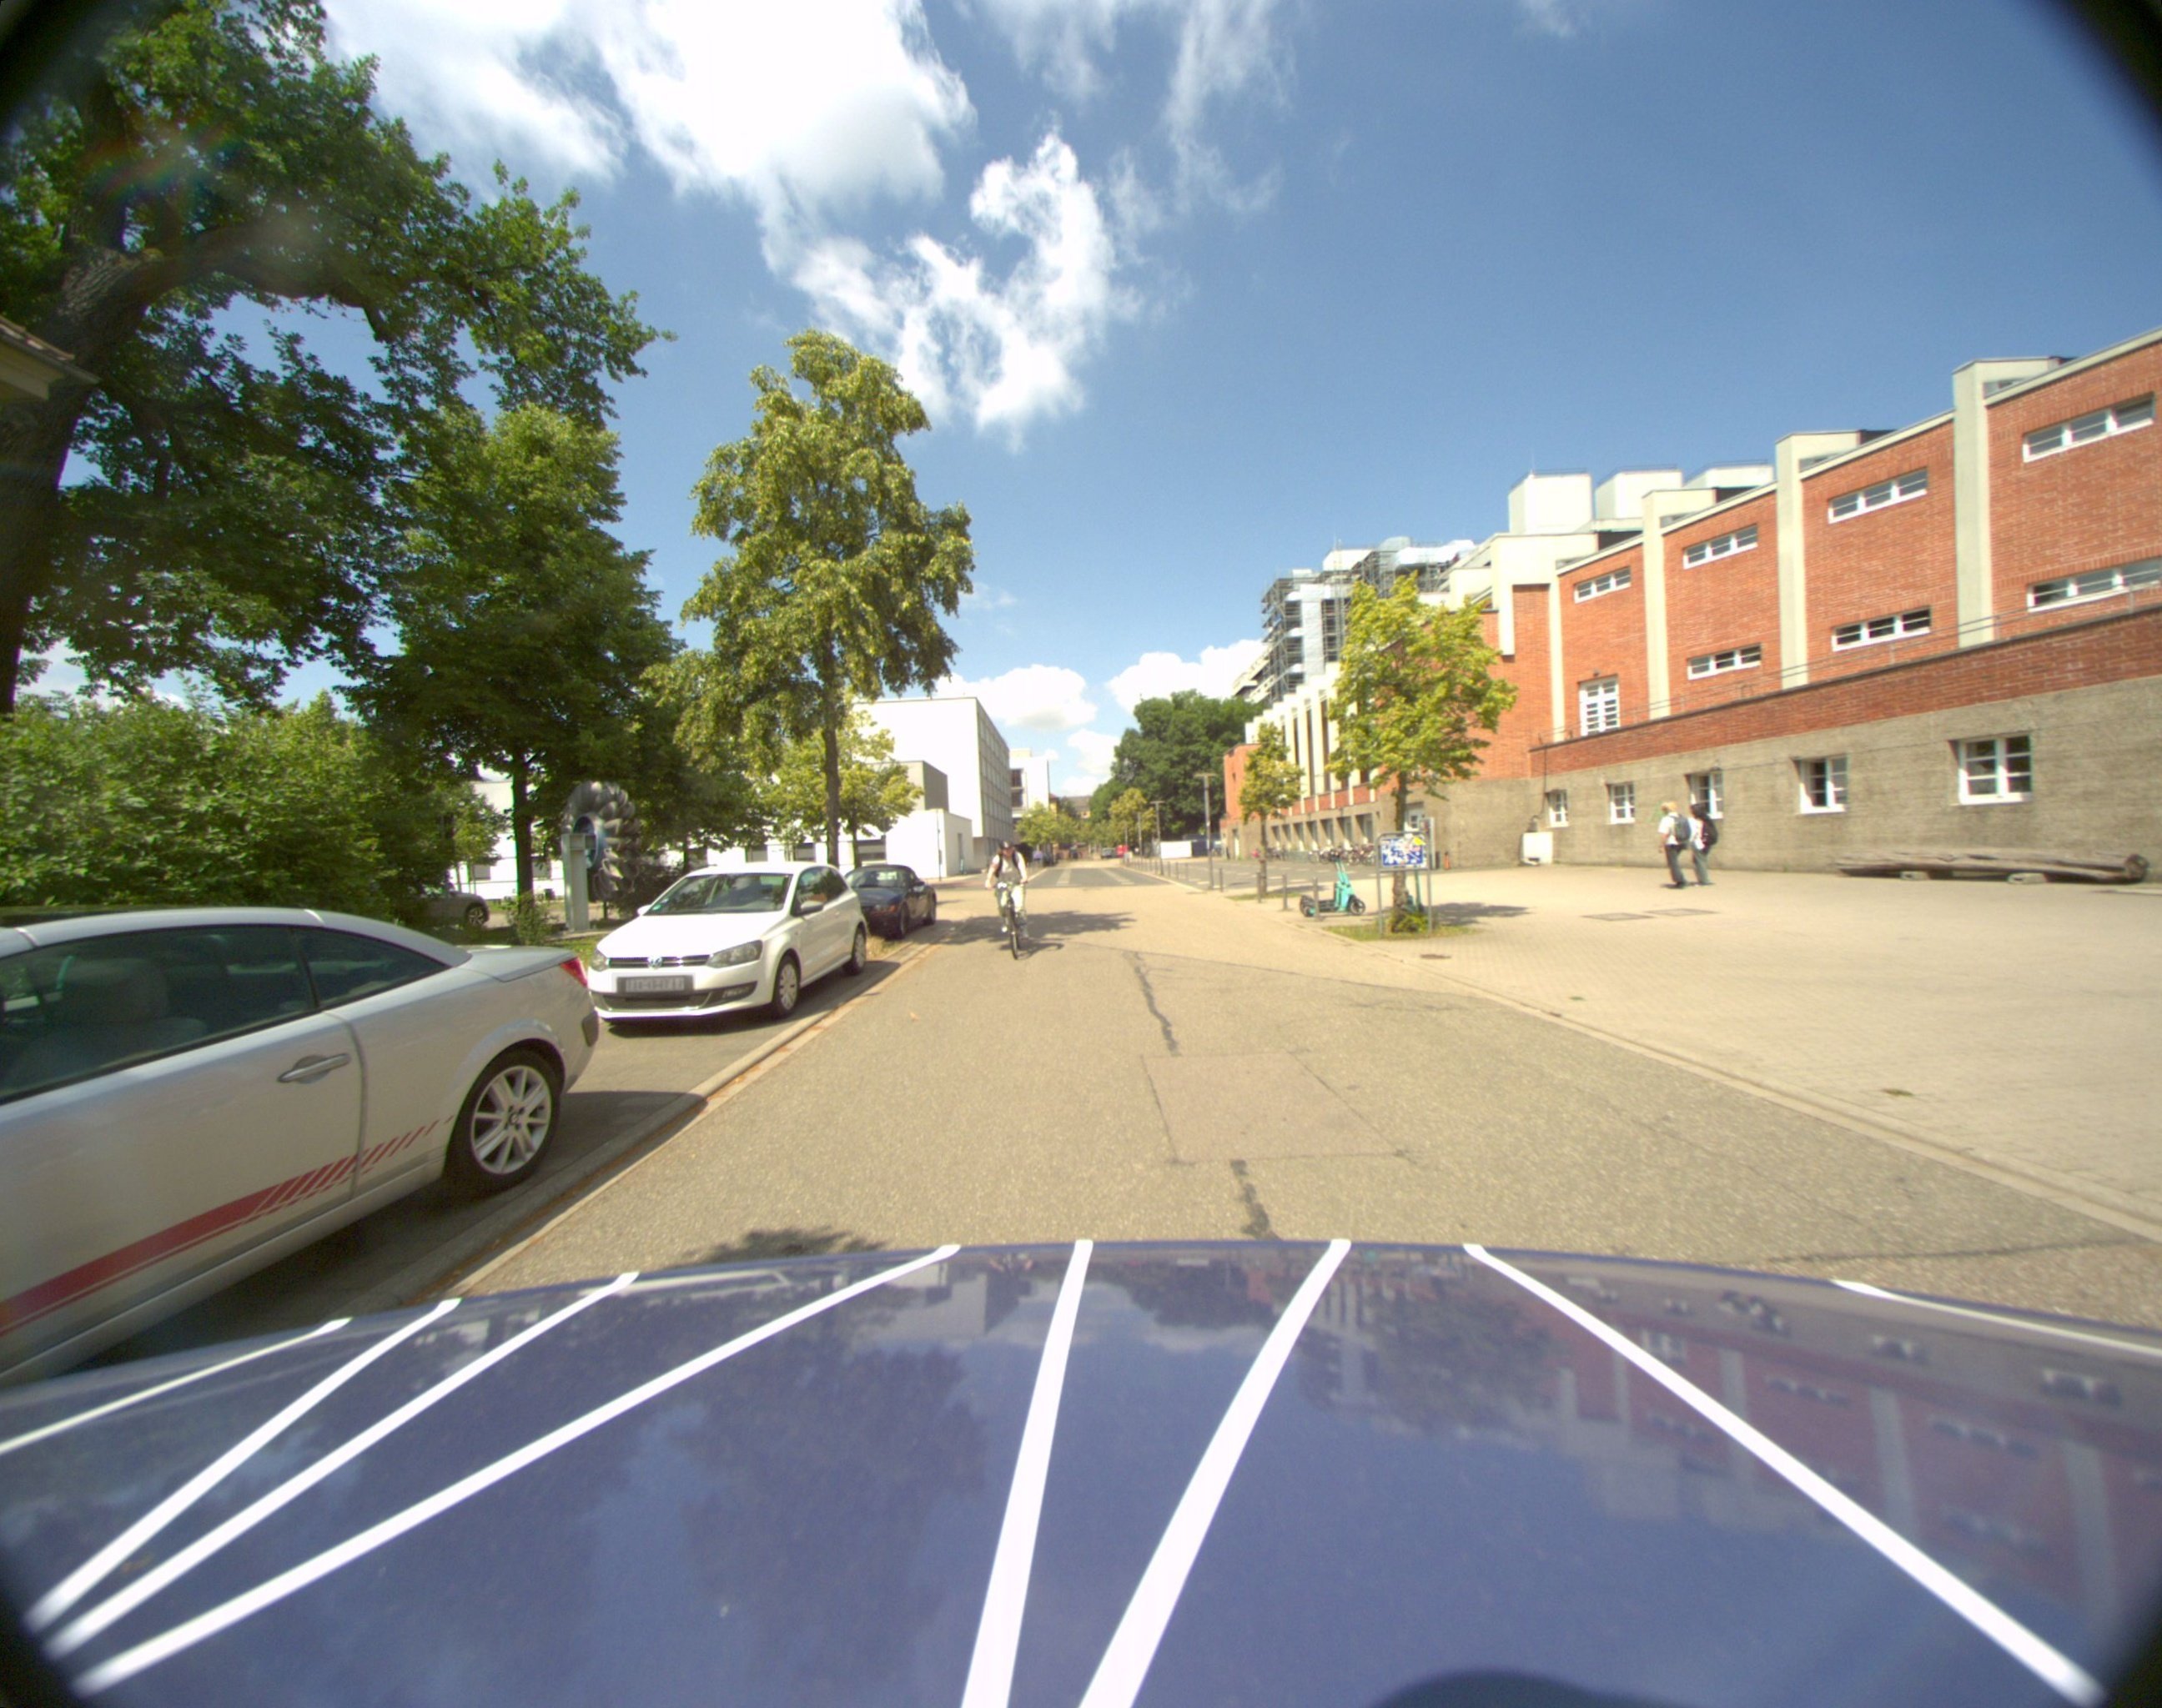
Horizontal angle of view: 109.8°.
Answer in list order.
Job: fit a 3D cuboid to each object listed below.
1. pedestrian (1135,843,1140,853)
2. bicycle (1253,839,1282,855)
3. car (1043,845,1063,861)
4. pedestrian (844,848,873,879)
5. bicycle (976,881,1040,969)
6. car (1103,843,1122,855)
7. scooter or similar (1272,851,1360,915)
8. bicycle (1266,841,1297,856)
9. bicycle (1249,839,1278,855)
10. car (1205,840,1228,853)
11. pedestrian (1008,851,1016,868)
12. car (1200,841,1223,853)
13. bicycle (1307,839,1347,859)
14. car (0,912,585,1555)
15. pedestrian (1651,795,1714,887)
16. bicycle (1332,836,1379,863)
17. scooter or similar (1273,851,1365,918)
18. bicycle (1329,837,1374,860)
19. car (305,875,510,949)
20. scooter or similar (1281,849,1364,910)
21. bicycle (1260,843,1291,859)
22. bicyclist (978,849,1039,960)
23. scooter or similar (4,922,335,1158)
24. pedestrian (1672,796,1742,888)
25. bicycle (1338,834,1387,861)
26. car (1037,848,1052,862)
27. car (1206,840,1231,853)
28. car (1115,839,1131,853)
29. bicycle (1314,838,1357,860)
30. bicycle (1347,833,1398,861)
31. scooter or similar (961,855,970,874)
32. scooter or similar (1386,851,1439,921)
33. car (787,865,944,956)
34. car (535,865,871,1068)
[{"bbox_3d":[8.705,-0.865,116.853,0.642,1.530,0.453,-3,1,11],"label":"pedestrian"},{"bbox_3d":[13.554,-0.501,55.178,1.955,1.024,0.518,-3,1,-1],"label":"bicycle"},{"bbox_3d":[-3.262,-0.147,89.897,1.939,1.671,3.470,-3,1,4],"label":"car"},{"bbox_3d":[-12.927,0.549,44.146,1.168,1.789,1.023,-1,0,28],"label":"pedestrian"},{"bbox_3d":[-1.037,0.994,11.265,0.675,1.066,2.136,-2,1,1],"label":"bicycle"},{"bbox_3d":[5.759,-0.923,137.111,2.023,2.080,4.438,-3,0,21],"label":"car"},{"bbox_3d":[4.758,0.596,15.401,1.571,1.218,0.566,-3,2,27],"label":"scooter or similar"},{"bbox_3d":[13.536,-0.374,51.308,1.955,0.935,0.569,-3,1,-1],"label":"bicycle"},{"bbox_3d":[13.471,-0.502,55.998,1.955,1.024,0.542,-3,1,-1],"label":"bicycle"},{"bbox_3d":[14.122,-0.787,79.236,2.289,1.173,0.524,-3,1,1],"label":"car"},{"bbox_3d":[-5.870,0.485,64.536,0.525,1.430,0.700,-3,1,3],"label":"pedestrian"},{"bbox_3d":[13.996,-0.797,81.689,2.325,1.173,0.479,-3,1,1],"label":"car"},{"bbox_3d":[13.604,-0.281,42.107,1.955,0.955,0.684,-3,1,-1],"label":"bicycle"},{"bbox_3d":[-3.435,1.019,1.918,1.650,1.382,3.989,-2,0,1],"label":"car"},{"bbox_3d":[11.966,-0.258,15.138,0.564,1.752,0.805,-3,2,-1],"label":"pedestrian"},{"bbox_3d":[13.409,-0.217,37.157,2.026,1.119,0.439,-5,1,4],"label":"bicycle"},{"bbox_3d":[4.565,0.598,14.614,1.571,1.218,0.525,-3,2,27],"label":"scooter or similar"},{"bbox_3d":[13.712,-0.275,38.504,2.015,1.076,0.621,-3,1,-1],"label":"bicycle"},{"bbox_3d":[-18.748,1.537,21.492,1.894,1.642,4.362,-4,0,-2],"label":"car"},{"bbox_3d":[5.140,0.542,16.198,1.571,1.218,0.571,-3,2,27],"label":"scooter or similar"},{"bbox_3d":[13.468,-0.219,52.722,1.955,1.024,0.530,-3,1,-1],"label":"bicycle"},{"bbox_3d":[-1.034,0.702,11.053,0.675,1.470,1.062,-3,3,1],"label":"bicyclist"},{"bbox_3d":[-5.832,1.121,4.966,0.521,1.214,1.237,-2,1,10],"label":"scooter or similar"},{"bbox_3d":[12.507,-0.240,15.212,0.577,1.769,0.917,-4,2,-1],"label":"pedestrian"},{"bbox_3d":[13.387,-0.311,36.152,2.026,1.119,0.592,-3,1,0],"label":"bicycle"},{"bbox_3d":[-3.900,0.143,81.601,1.552,1.377,3.453,-3,1,-2],"label":"car"},{"bbox_3d":[14.030,-0.777,77.451,2.368,1.173,0.794,-3,1,1],"label":"car"},{"bbox_3d":[6.138,-1.151,110.741,1.912,1.871,4.002,-3,0,6],"label":"car"},{"bbox_3d":[13.489,-0.284,40.310,2.027,1.055,0.663,-3,1,-1],"label":"bicycle"},{"bbox_3d":[13.150,-0.311,34.322,2.027,1.119,0.667,-3,1,-1],"label":"bicycle"},{"bbox_3d":[-7.600,0.681,50.088,0.327,1.229,1.073,-3,1,2],"label":"scooter or similar"},{"bbox_3d":[5.988,0.557,13.778,0.564,1.142,1.350,-3,1,12],"label":"scooter or similar"},{"bbox_3d":[-3.875,0.955,14.405,1.712,1.273,3.999,-3,1,1],"label":"car"},{"bbox_3d":[-3.510,0.906,7.961,1.591,1.458,3.988,-3,0,-3],"label":"car"}]
